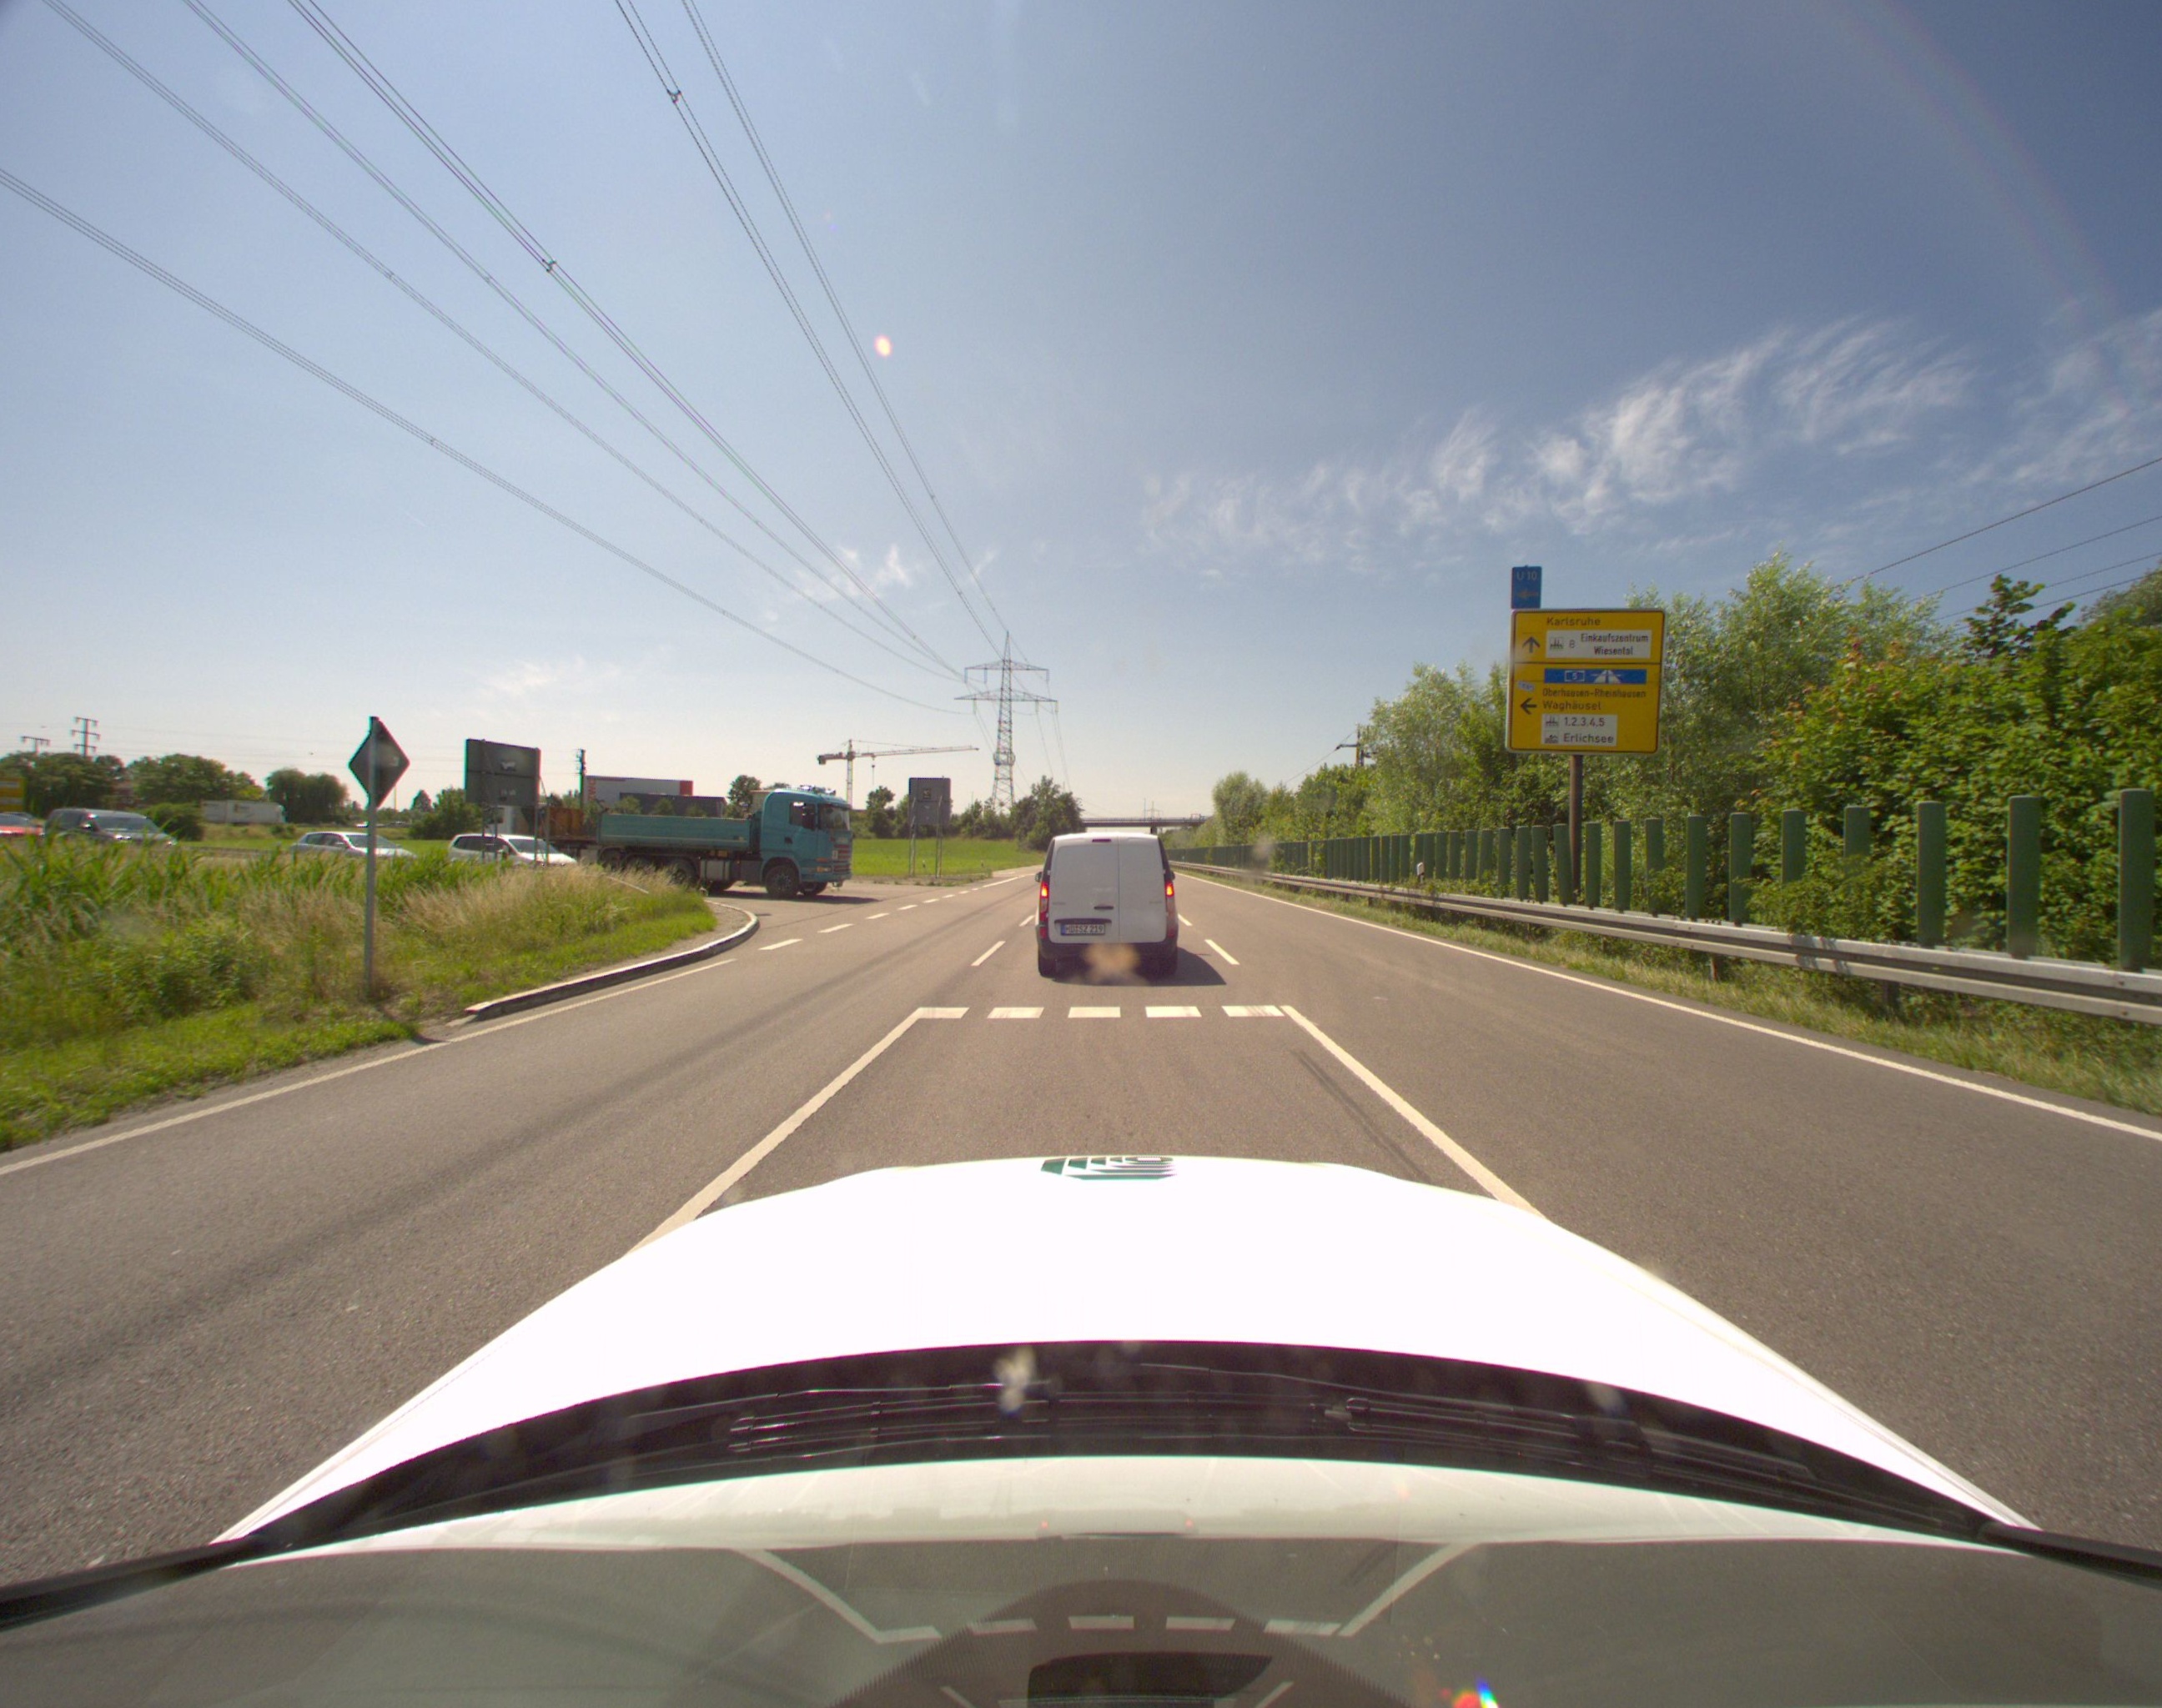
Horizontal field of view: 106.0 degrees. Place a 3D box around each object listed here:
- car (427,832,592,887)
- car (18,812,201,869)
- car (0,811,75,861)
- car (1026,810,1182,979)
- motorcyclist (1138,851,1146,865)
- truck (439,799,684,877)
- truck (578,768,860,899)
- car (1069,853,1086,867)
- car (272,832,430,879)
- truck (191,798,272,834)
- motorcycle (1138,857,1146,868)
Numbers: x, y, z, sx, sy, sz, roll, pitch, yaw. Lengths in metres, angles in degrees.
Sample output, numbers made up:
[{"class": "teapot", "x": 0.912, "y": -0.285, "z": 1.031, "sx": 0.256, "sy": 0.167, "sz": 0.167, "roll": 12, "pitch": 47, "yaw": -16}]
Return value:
[{"class": "car", "x": -18.725, "y": 0.153, "z": 26.723, "sx": 4.506, "sy": 1.612, "sz": 1.976, "roll": 1, "pitch": 0, "yaw": 16}, {"class": "car", "x": -35.419, "y": -0.519, "z": 29.759, "sx": 4.906, "sy": 1.867, "sz": 2.094, "roll": 2, "pitch": 1, "yaw": 10}, {"class": "car", "x": -41.878, "y": -0.715, "z": 31.498, "sx": 4.438, "sy": 1.849, "sz": 1.922, "roll": 1, "pitch": 0, "yaw": 12}, {"class": "car", "x": 0.325, "y": 0.469, "z": 11.564, "sx": 1.820, "sy": 1.971, "sz": 4.001, "roll": -1, "pitch": 0, "yaw": 2}, {"class": "motorcyclist", "x": 6.511, "y": 0.403, "z": 87.059, "sx": 0.886, "sy": 1.476, "sz": 1.002, "roll": 0, "pitch": 0, "yaw": 1}, {"class": "truck", "x": -23.134, "y": -0.713, "z": 36.422, "sx": 9.615, "sy": 3.288, "sz": 2.836, "roll": 0, "pitch": 1, "yaw": 7}, {"class": "truck", "x": -11.473, "y": -0.651, "z": 26.216, "sx": 7.869, "sy": 3.734, "sz": 2.501, "roll": 2, "pitch": 0, "yaw": 4}, {"class": "car", "x": -0.398, "y": 0.643, "z": 90.694, "sx": 1.775, "sy": 1.464, "sz": 4.002, "roll": 0, "pitch": 0, "yaw": 2}, {"class": "car", "x": -24.818, "y": 0.031, "z": 27.737, "sx": 4.402, "sy": 1.470, "sz": 1.724, "roll": 1, "pitch": 0, "yaw": 12}, {"class": "truck", "x": -124.625, "y": -5.462, "z": 119.803, "sx": 3.697, "sy": 4.646, "sz": 13.129, "roll": 1, "pitch": 0, "yaw": -26}, {"class": "motorcycle", "x": 6.493, "y": 0.862, "z": 86.946, "sx": 0.787, "sy": 1.157, "sz": 1.901, "roll": 0, "pitch": 0, "yaw": 1}]
